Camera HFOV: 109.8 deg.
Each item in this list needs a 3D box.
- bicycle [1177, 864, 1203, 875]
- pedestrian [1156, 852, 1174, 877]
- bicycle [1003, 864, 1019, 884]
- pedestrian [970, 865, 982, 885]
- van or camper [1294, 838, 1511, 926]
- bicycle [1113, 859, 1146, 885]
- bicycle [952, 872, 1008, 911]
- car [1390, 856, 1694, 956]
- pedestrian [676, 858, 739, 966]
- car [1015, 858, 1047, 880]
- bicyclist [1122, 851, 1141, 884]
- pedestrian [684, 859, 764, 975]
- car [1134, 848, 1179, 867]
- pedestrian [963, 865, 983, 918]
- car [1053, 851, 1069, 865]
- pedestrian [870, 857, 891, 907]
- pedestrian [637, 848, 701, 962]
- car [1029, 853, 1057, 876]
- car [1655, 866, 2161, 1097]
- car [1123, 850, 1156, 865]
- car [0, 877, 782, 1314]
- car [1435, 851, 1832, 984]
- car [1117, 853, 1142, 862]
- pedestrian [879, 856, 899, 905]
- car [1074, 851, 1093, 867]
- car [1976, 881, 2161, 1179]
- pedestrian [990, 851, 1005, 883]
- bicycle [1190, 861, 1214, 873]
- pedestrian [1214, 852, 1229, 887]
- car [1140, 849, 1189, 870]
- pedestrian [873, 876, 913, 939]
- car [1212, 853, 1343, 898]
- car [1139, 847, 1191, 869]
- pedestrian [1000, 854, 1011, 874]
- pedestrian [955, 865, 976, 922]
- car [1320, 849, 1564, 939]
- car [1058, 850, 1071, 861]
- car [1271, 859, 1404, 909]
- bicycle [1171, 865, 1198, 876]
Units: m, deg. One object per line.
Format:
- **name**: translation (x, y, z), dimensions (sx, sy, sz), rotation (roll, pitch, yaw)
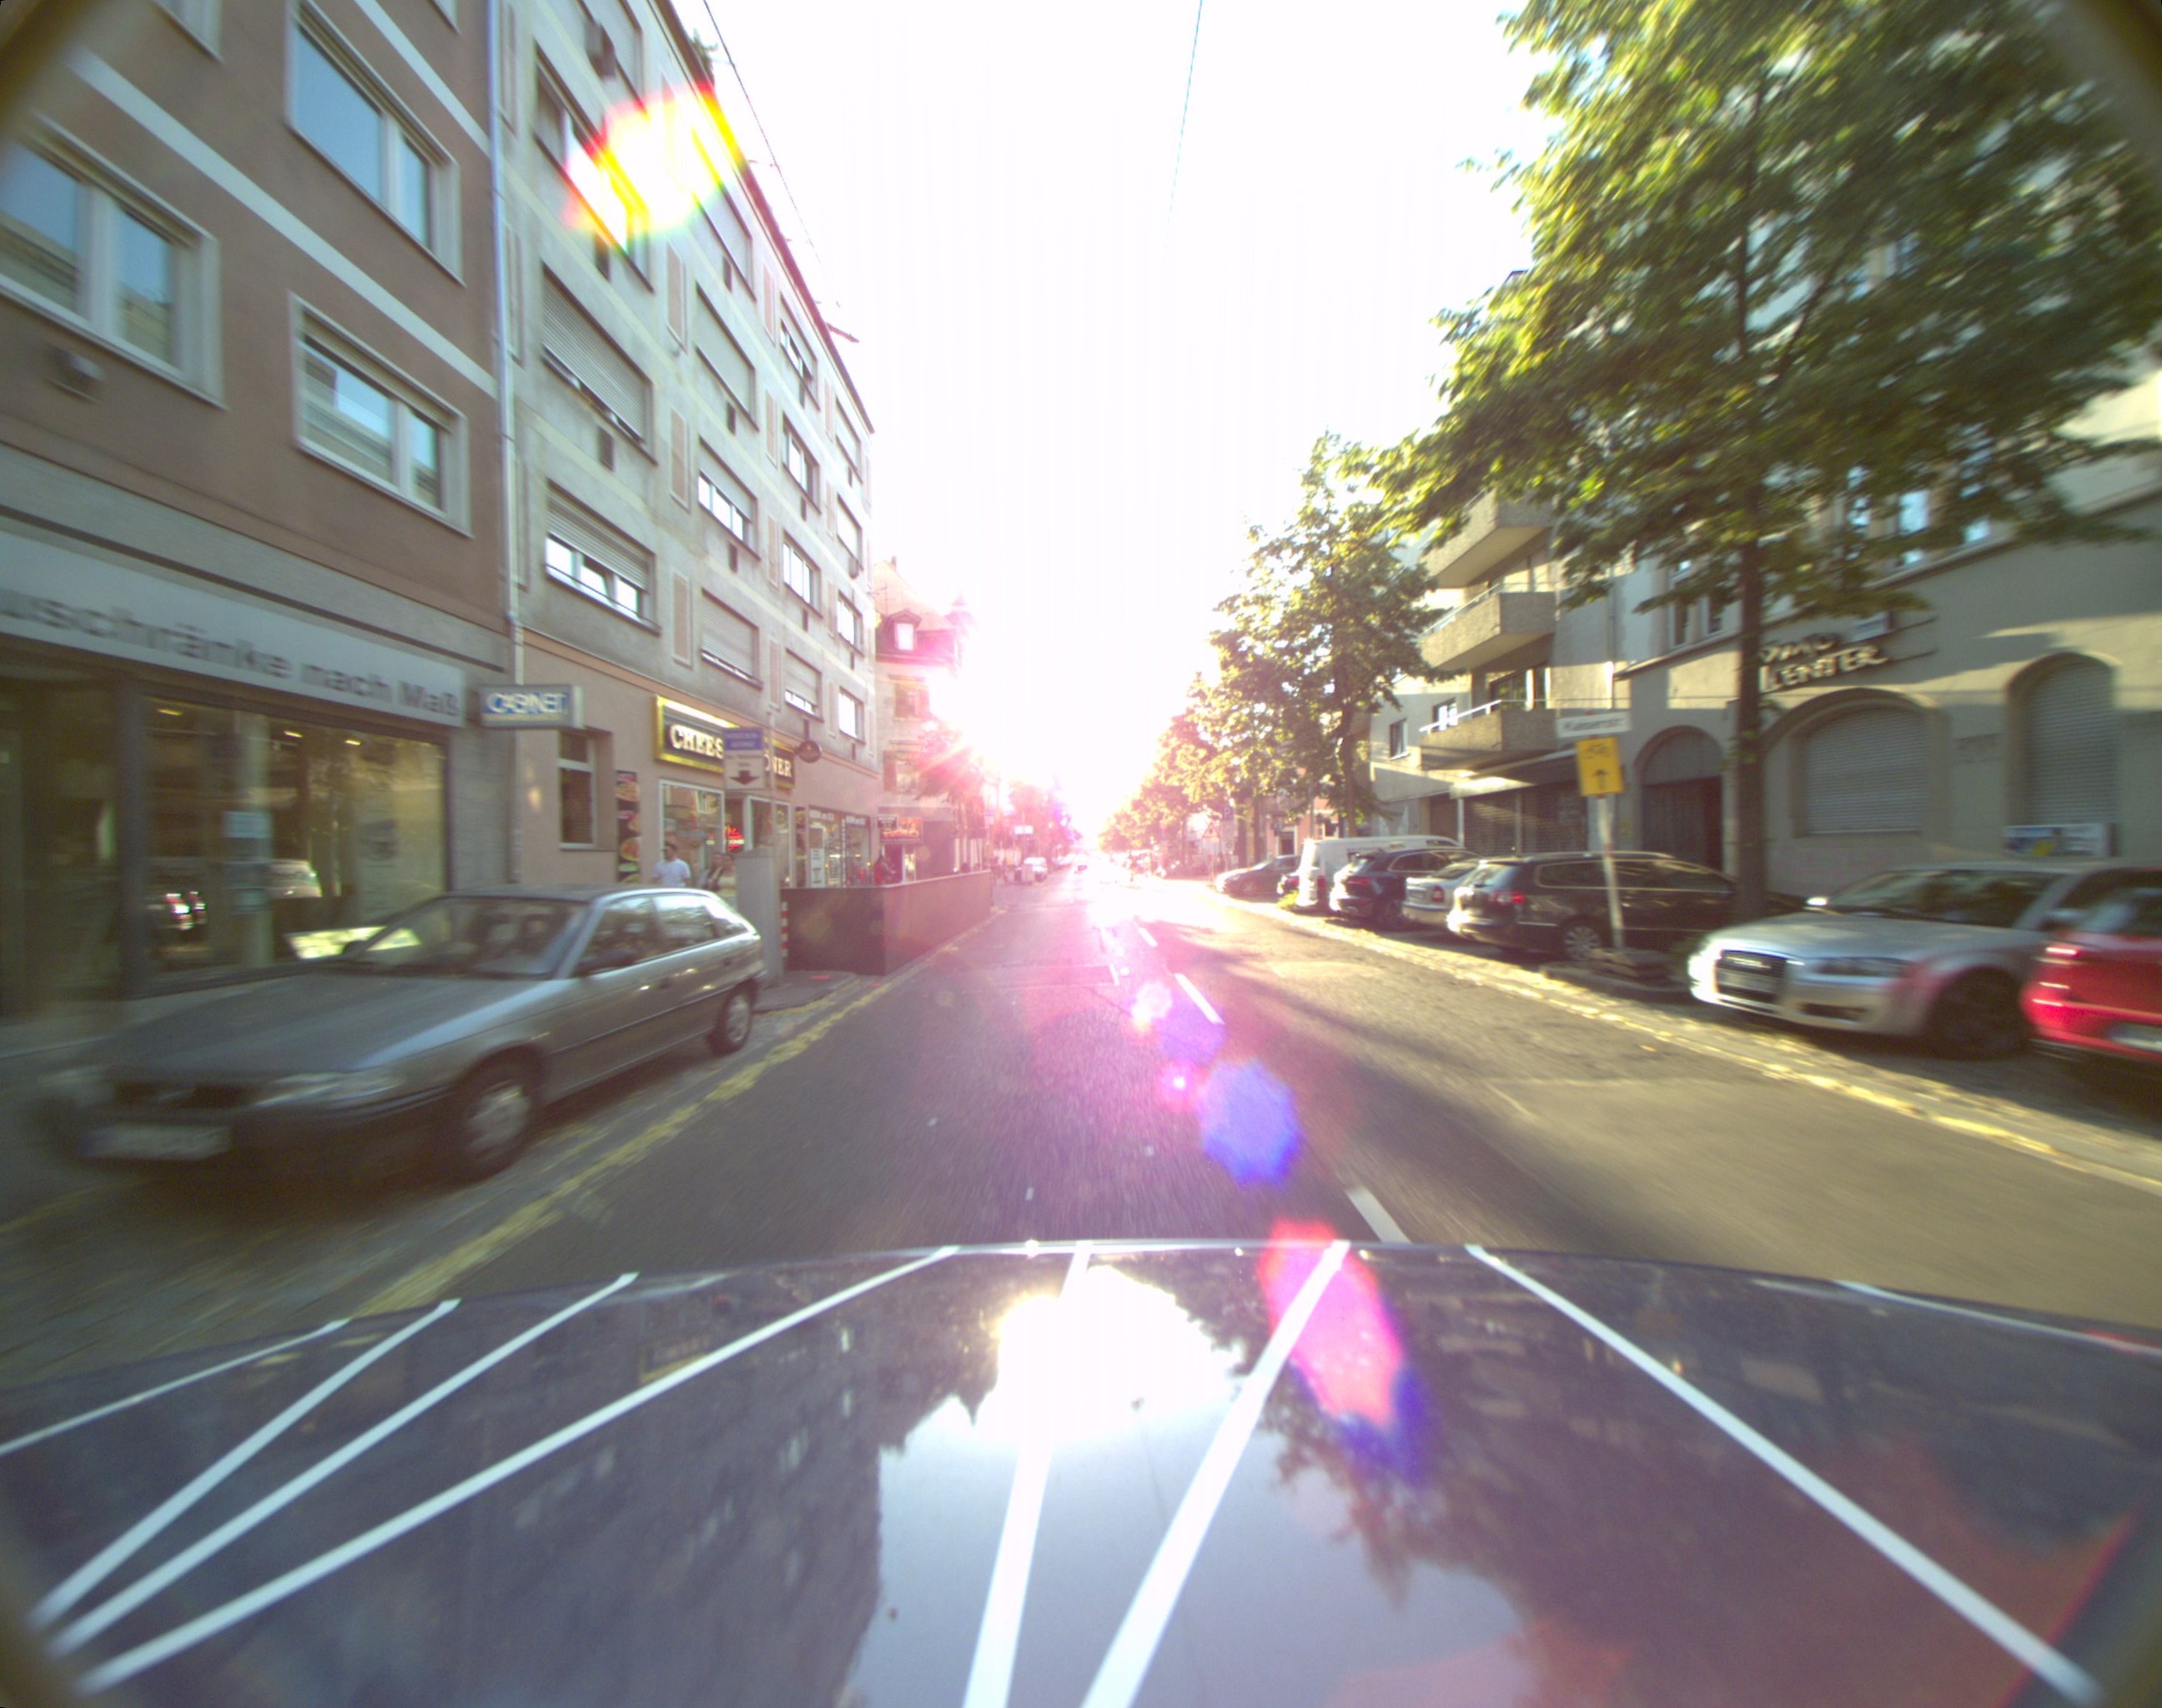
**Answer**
- **bicycle**: translation (7.702, 1.095, 53.853), dimensions (1.796, 0.761, 0.408), rotation (-1, 1, 13)
- **pedestrian**: translation (5.637, 0.709, 50.975), dimensions (0.898, 1.671, 0.795), rotation (-1, 1, -36)
- **bicycle**: translation (-4.091, 1.178, 44.324), dimensions (0.478, 1.101, 2.062), rotation (-1, 0, 7)
- **pedestrian**: translation (-5.984, 1.210, 43.280), dimensions (0.551, 1.128, 0.648), rotation (1, 1, 1)
- **van or camper**: translation (7.615, 0.638, 18.325), dimensions (4.469, 1.945, 1.789), rotation (-1, 0, 2)
- **bicycle**: translation (2.611, 0.944, 40.894), dimensions (1.833, 1.335, 0.405), rotation (-1, 1, -30)
- **bicycle**: translation (-3.341, 1.211, 25.021), dimensions (2.055, 1.208, 0.479), rotation (-1, 1, 37)
- **car**: translation (7.790, 0.842, 13.122), dimensions (4.194, 1.434, 1.732), rotation (-2, 1, 0)
- **pedestrian**: translation (-5.822, 0.880, 11.868), dimensions (0.607, 1.622, 0.668), rotation (-1, 1, 0)
- **car**: translation (-3.340, 1.011, 51.592), dimensions (1.825, 1.344, 4.155), rotation (-1, 1, 1)
- **bicyclist**: translation (2.724, 0.724, 40.903), dimensions (0.873, 1.783, 0.535), rotation (-1, 1, -29)
- **pedestrian**: translation (-5.251, 0.896, 11.223), dimensions (0.748, 1.622, 0.855), rotation (-1, 1, 0)
- **car**: translation (7.924, 0.398, 79.835), dimensions (4.439, 1.832, 1.814), rotation (-2, 0, -1)
- **pedestrian**: translation (-3.021, 1.042, 21.323), dimensions (0.448, 1.472, 0.563), rotation (1, 1, 1)
- **car**: translation (-2.563, 0.505, 96.544), dimensions (1.825, 1.658, 4.155), rotation (-1, 1, 1)
- **pedestrian**: translation (-6.508, 0.902, 24.688), dimensions (0.493, 1.614, 0.573), rotation (1, 1, 1)
- **pedestrian**: translation (-6.464, 0.777, 11.952), dimensions (0.607, 1.728, 0.668), rotation (-1, 1, 0)
- **car**: translation (-2.882, 0.809, 58.642), dimensions (1.825, 1.658, 4.155), rotation (-1, 1, 1)
- **car**: translation (7.253, 0.870, 6.078), dimensions (4.052, 1.379, 1.744), rotation (-2, 0, -3)
- **car**: translation (7.578, 0.468, 98.595), dimensions (4.152, 1.771, 1.826), rotation (-1, 0, 0)
- **car**: translation (-3.746, 0.992, 4.942), dimensions (1.830, 1.465, 3.991), rotation (3, 0, 2)
- **car**: translation (7.440, 0.813, 10.552), dimensions (4.193, 1.528, 1.744), rotation (-2, 1, 1)
- **car**: translation (8.194, 0.645, 128.849), dimensions (4.151, 1.469, 1.827), rotation (-1, 0, 1)
- **pedestrian**: translation (-6.491, 0.892, 25.699), dimensions (0.493, 1.614, 0.573), rotation (1, 1, 1)
- **car**: translation (0.310, 0.478, 77.573), dimensions (1.825, 1.469, 4.155), rotation (-1, 1, 1)
- **car**: translation (7.370, 0.869, 3.784), dimensions (3.876, 1.448, 1.744), rotation (-1, 0, -2)
- **pedestrian**: translation (-4.846, 0.743, 44.154), dimensions (0.719, 1.864, 0.756), rotation (1, 1, 1)
- **bicycle**: translation (8.850, 0.947, 55.574), dimensions (1.801, 0.858, 0.444), rotation (-1, 1, -24)
- **pedestrian**: translation (6.622, 0.727, 35.809), dimensions (0.550, 1.638, 0.721), rotation (-1, 1, 3)
- **car**: translation (7.920, 0.479, 72.533), dimensions (4.439, 1.832, 1.814), rotation (-2, 0, -1)
- **pedestrian**: translation (-4.042, 1.148, 16.369), dimensions (0.687, 1.298, 0.648), rotation (1, 1, 2)
- **car**: translation (7.365, 0.794, 28.739), dimensions (4.439, 1.516, 1.814), rotation (-2, 0, -1)
- **car**: translation (7.678, 0.346, 69.782), dimensions (4.439, 1.832, 1.814), rotation (-2, 0, -1)
- **pedestrian**: translation (-5.864, 0.777, 58.784), dimensions (0.719, 1.565, 0.756), rotation (1, 1, 1)
- **pedestrian**: translation (-3.094, 1.048, 20.366), dimensions (0.448, 1.472, 0.547), rotation (1, 1, 1)
- **car**: translation (7.286, 0.776, 15.643), dimensions (4.193, 1.659, 1.732), rotation (-1, 1, 2)
- **car**: translation (-2.635, 0.284, 122.679), dimensions (1.825, 1.658, 4.155), rotation (-1, 1, 1)
- **car**: translation (7.782, 0.906, 23.293), dimensions (3.582, 1.405, 1.512), rotation (-1, 1, 2)
- **bicycle**: translation (7.184, 1.132, 52.675), dimensions (1.796, 0.761, 0.408), rotation (-1, 1, 13)
